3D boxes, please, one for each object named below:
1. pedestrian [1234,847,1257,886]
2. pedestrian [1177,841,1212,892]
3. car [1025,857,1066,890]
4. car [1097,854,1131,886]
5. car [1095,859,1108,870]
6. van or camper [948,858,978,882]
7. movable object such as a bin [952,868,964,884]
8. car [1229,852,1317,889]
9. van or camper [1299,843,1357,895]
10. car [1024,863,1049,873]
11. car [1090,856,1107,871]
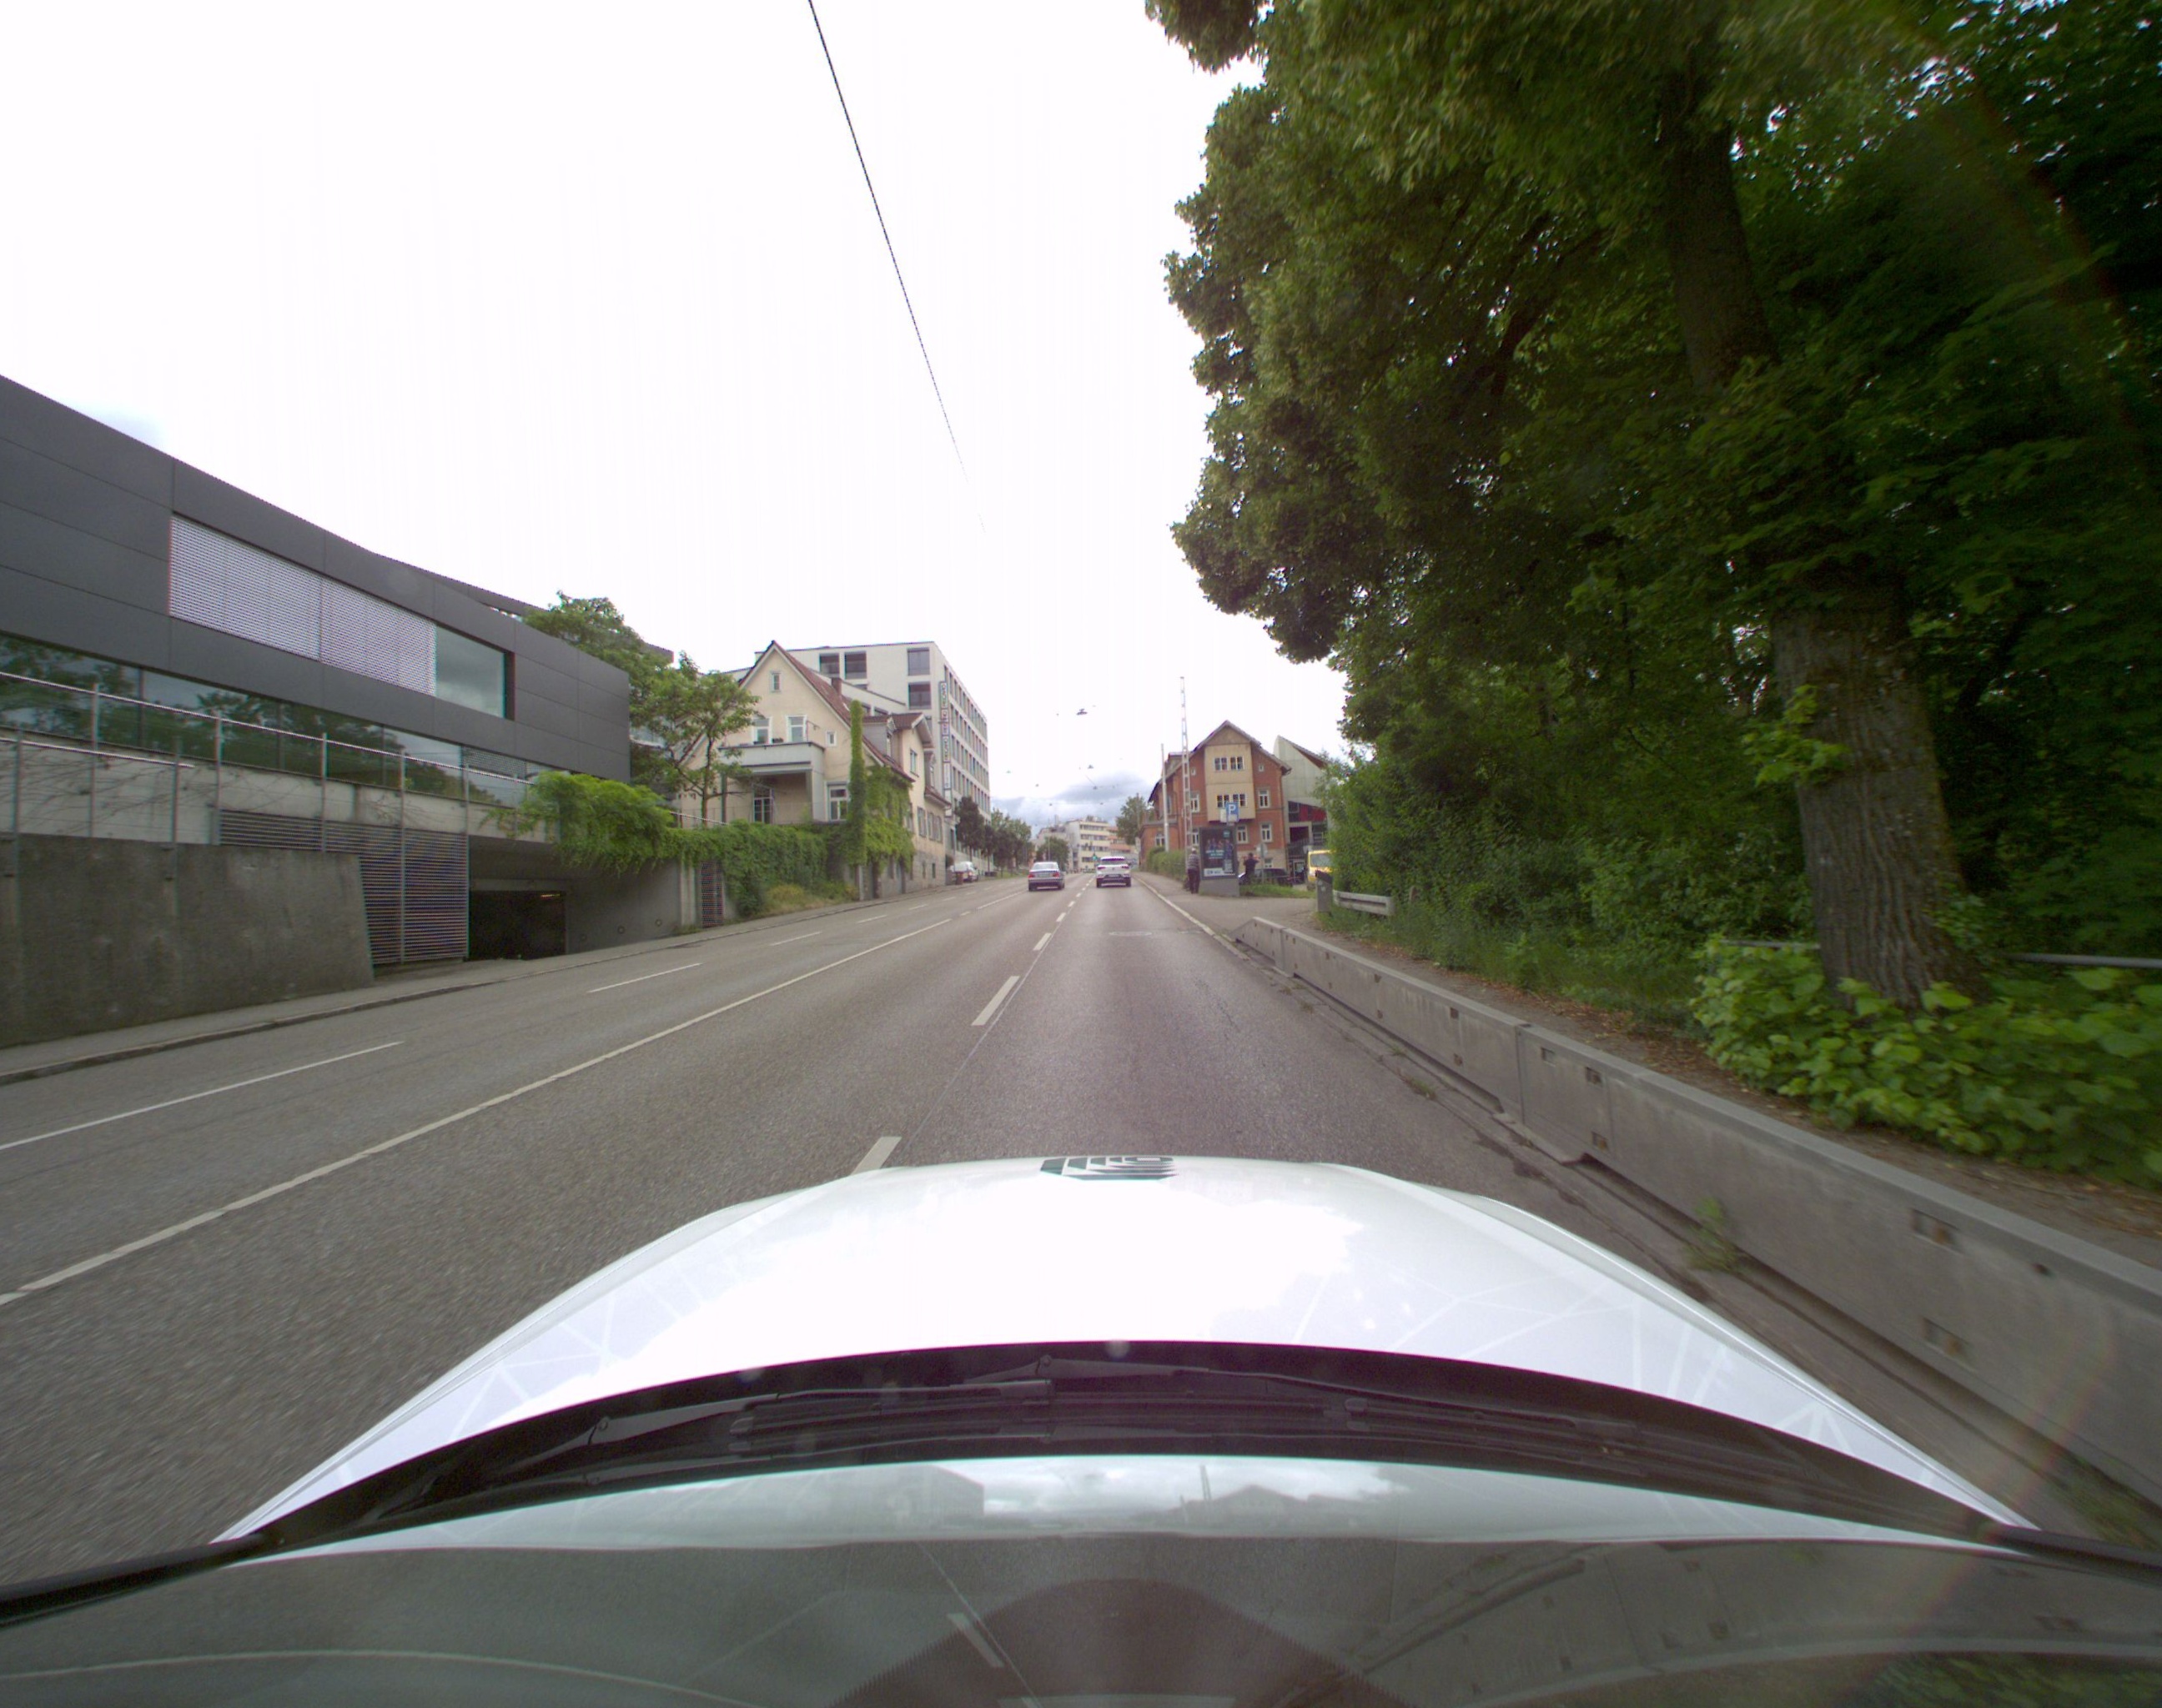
[{"bbox_3d":[6.825,0.522,33.772,0.588,1.571,0.641,-3,0,-32],"label":"pedestrian"},{"bbox_3d":[4.347,0.471,31.292,0.817,1.884,0.940,-3,0,-28],"label":"pedestrian"},{"bbox_3d":[-1.723,0.937,40.525,1.693,1.516,3.737,-3,0,2],"label":"car"},{"bbox_3d":[1.701,0.805,42.364,1.693,1.548,3.737,0,0,2],"label":"car"},{"bbox_3d":[3.119,1.612,122.658,1.823,1.464,4.002,-3,0,2],"label":"car"},{"bbox_3d":[-10.817,1.446,75.128,2.054,1.968,4.871,-3,0,-1],"label":"van or camper"},{"bbox_3d":[-9.343,1.630,61.761,0.808,1.189,0.697,1,-1,-4],"label":"movable object such as a bin"},{"bbox_3d":[8.248,0.716,35.218,3.473,1.541,1.579,0,0,3],"label":"car"},{"bbox_3d":[12.520,0.683,41.597,2.201,2.329,6.200,-4,0,12],"label":"van or camper"},{"bbox_3d":[-7.397,2.289,136.208,4.023,1.544,1.759,-1,-2,-44],"label":"car"},{"bbox_3d":[2.044,1.067,94.772,1.823,1.651,4.002,-3,0,2],"label":"car"}]
